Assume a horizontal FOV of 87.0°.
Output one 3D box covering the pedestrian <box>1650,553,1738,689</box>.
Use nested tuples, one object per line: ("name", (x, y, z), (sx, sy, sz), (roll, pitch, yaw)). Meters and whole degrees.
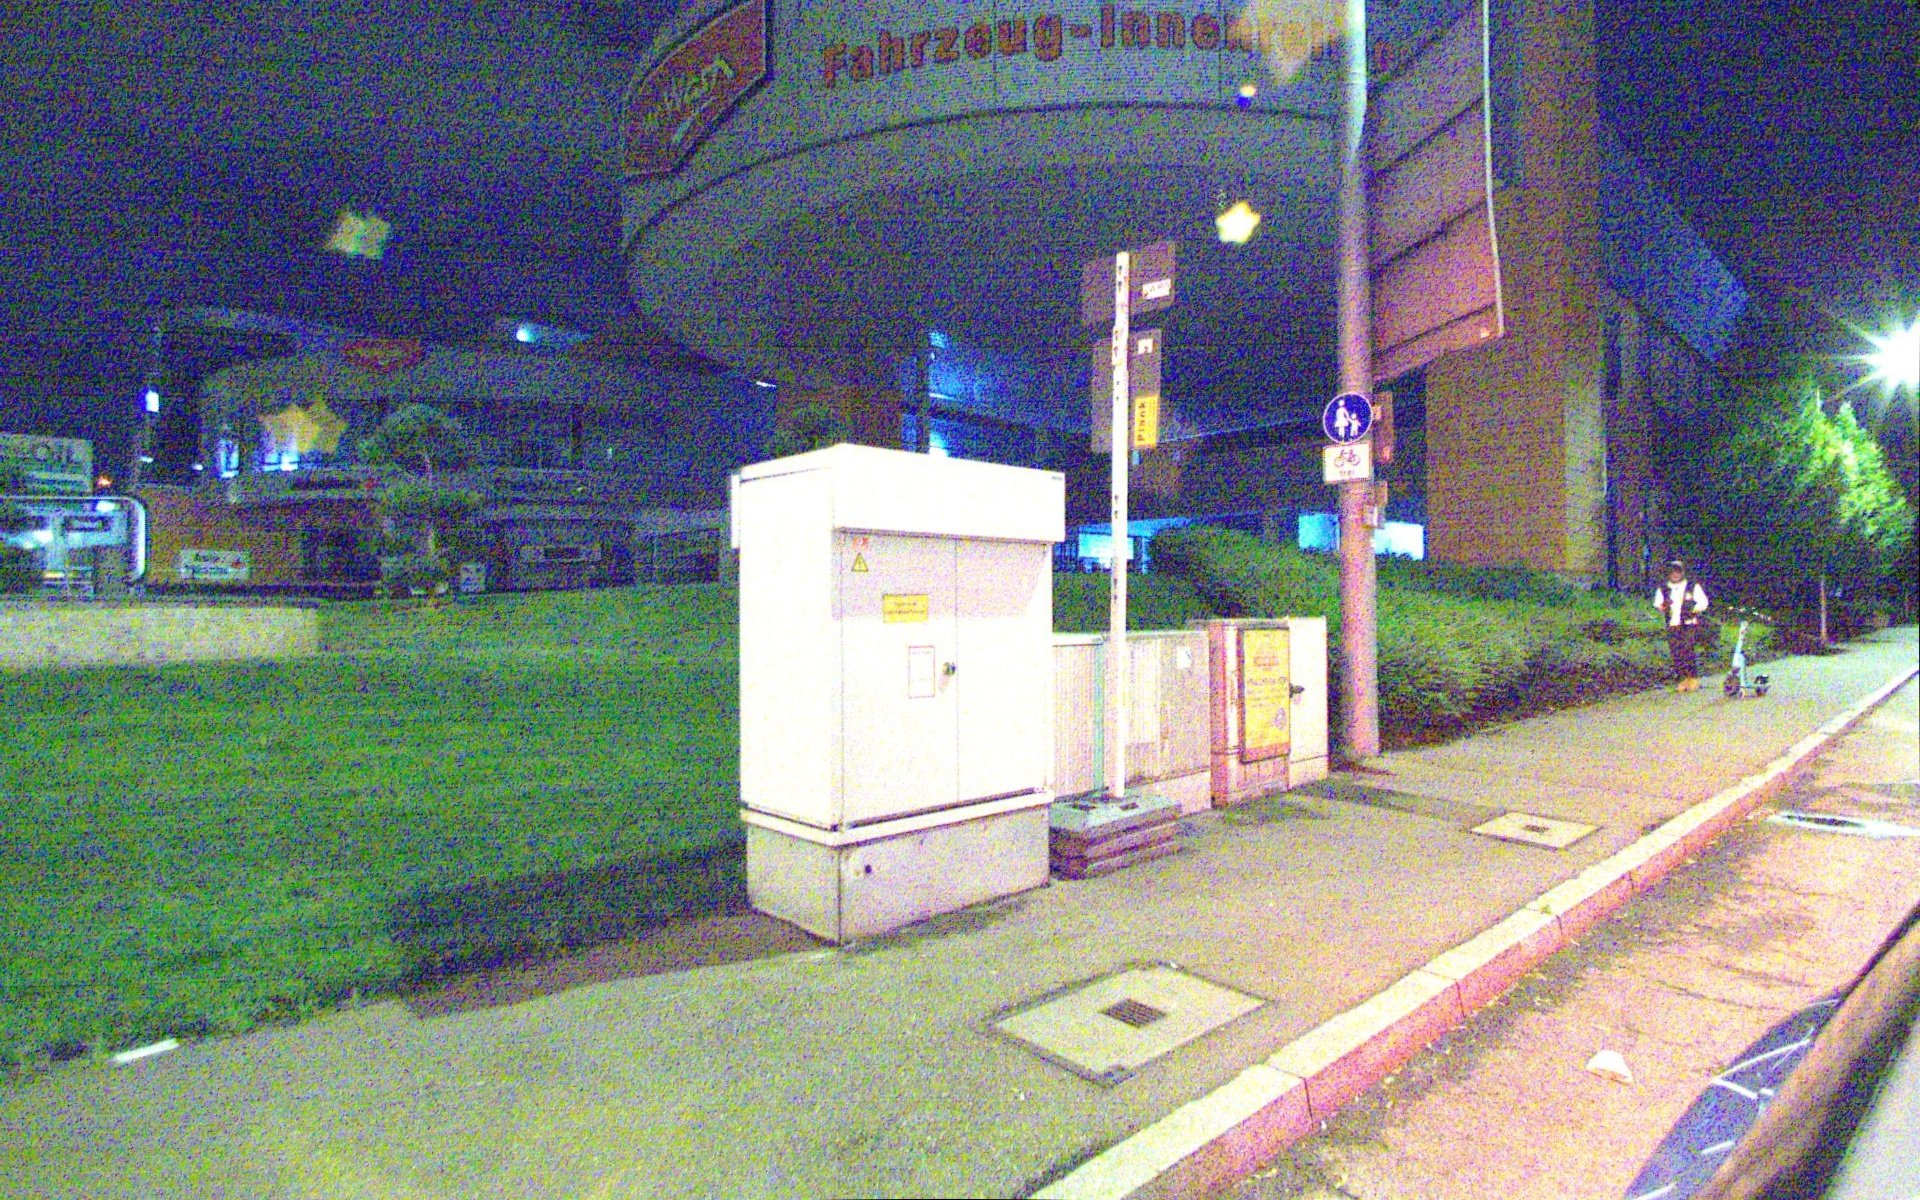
("pedestrian", (10.697, 0.287, 14.750), (1.016, 1.888, 0.819), (0, 0, -41))

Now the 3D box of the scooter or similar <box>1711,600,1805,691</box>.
("scooter or similar", (11.013, 0.618, 13.975), (1.111, 1.217, 0.470), (1, -1, -17))
